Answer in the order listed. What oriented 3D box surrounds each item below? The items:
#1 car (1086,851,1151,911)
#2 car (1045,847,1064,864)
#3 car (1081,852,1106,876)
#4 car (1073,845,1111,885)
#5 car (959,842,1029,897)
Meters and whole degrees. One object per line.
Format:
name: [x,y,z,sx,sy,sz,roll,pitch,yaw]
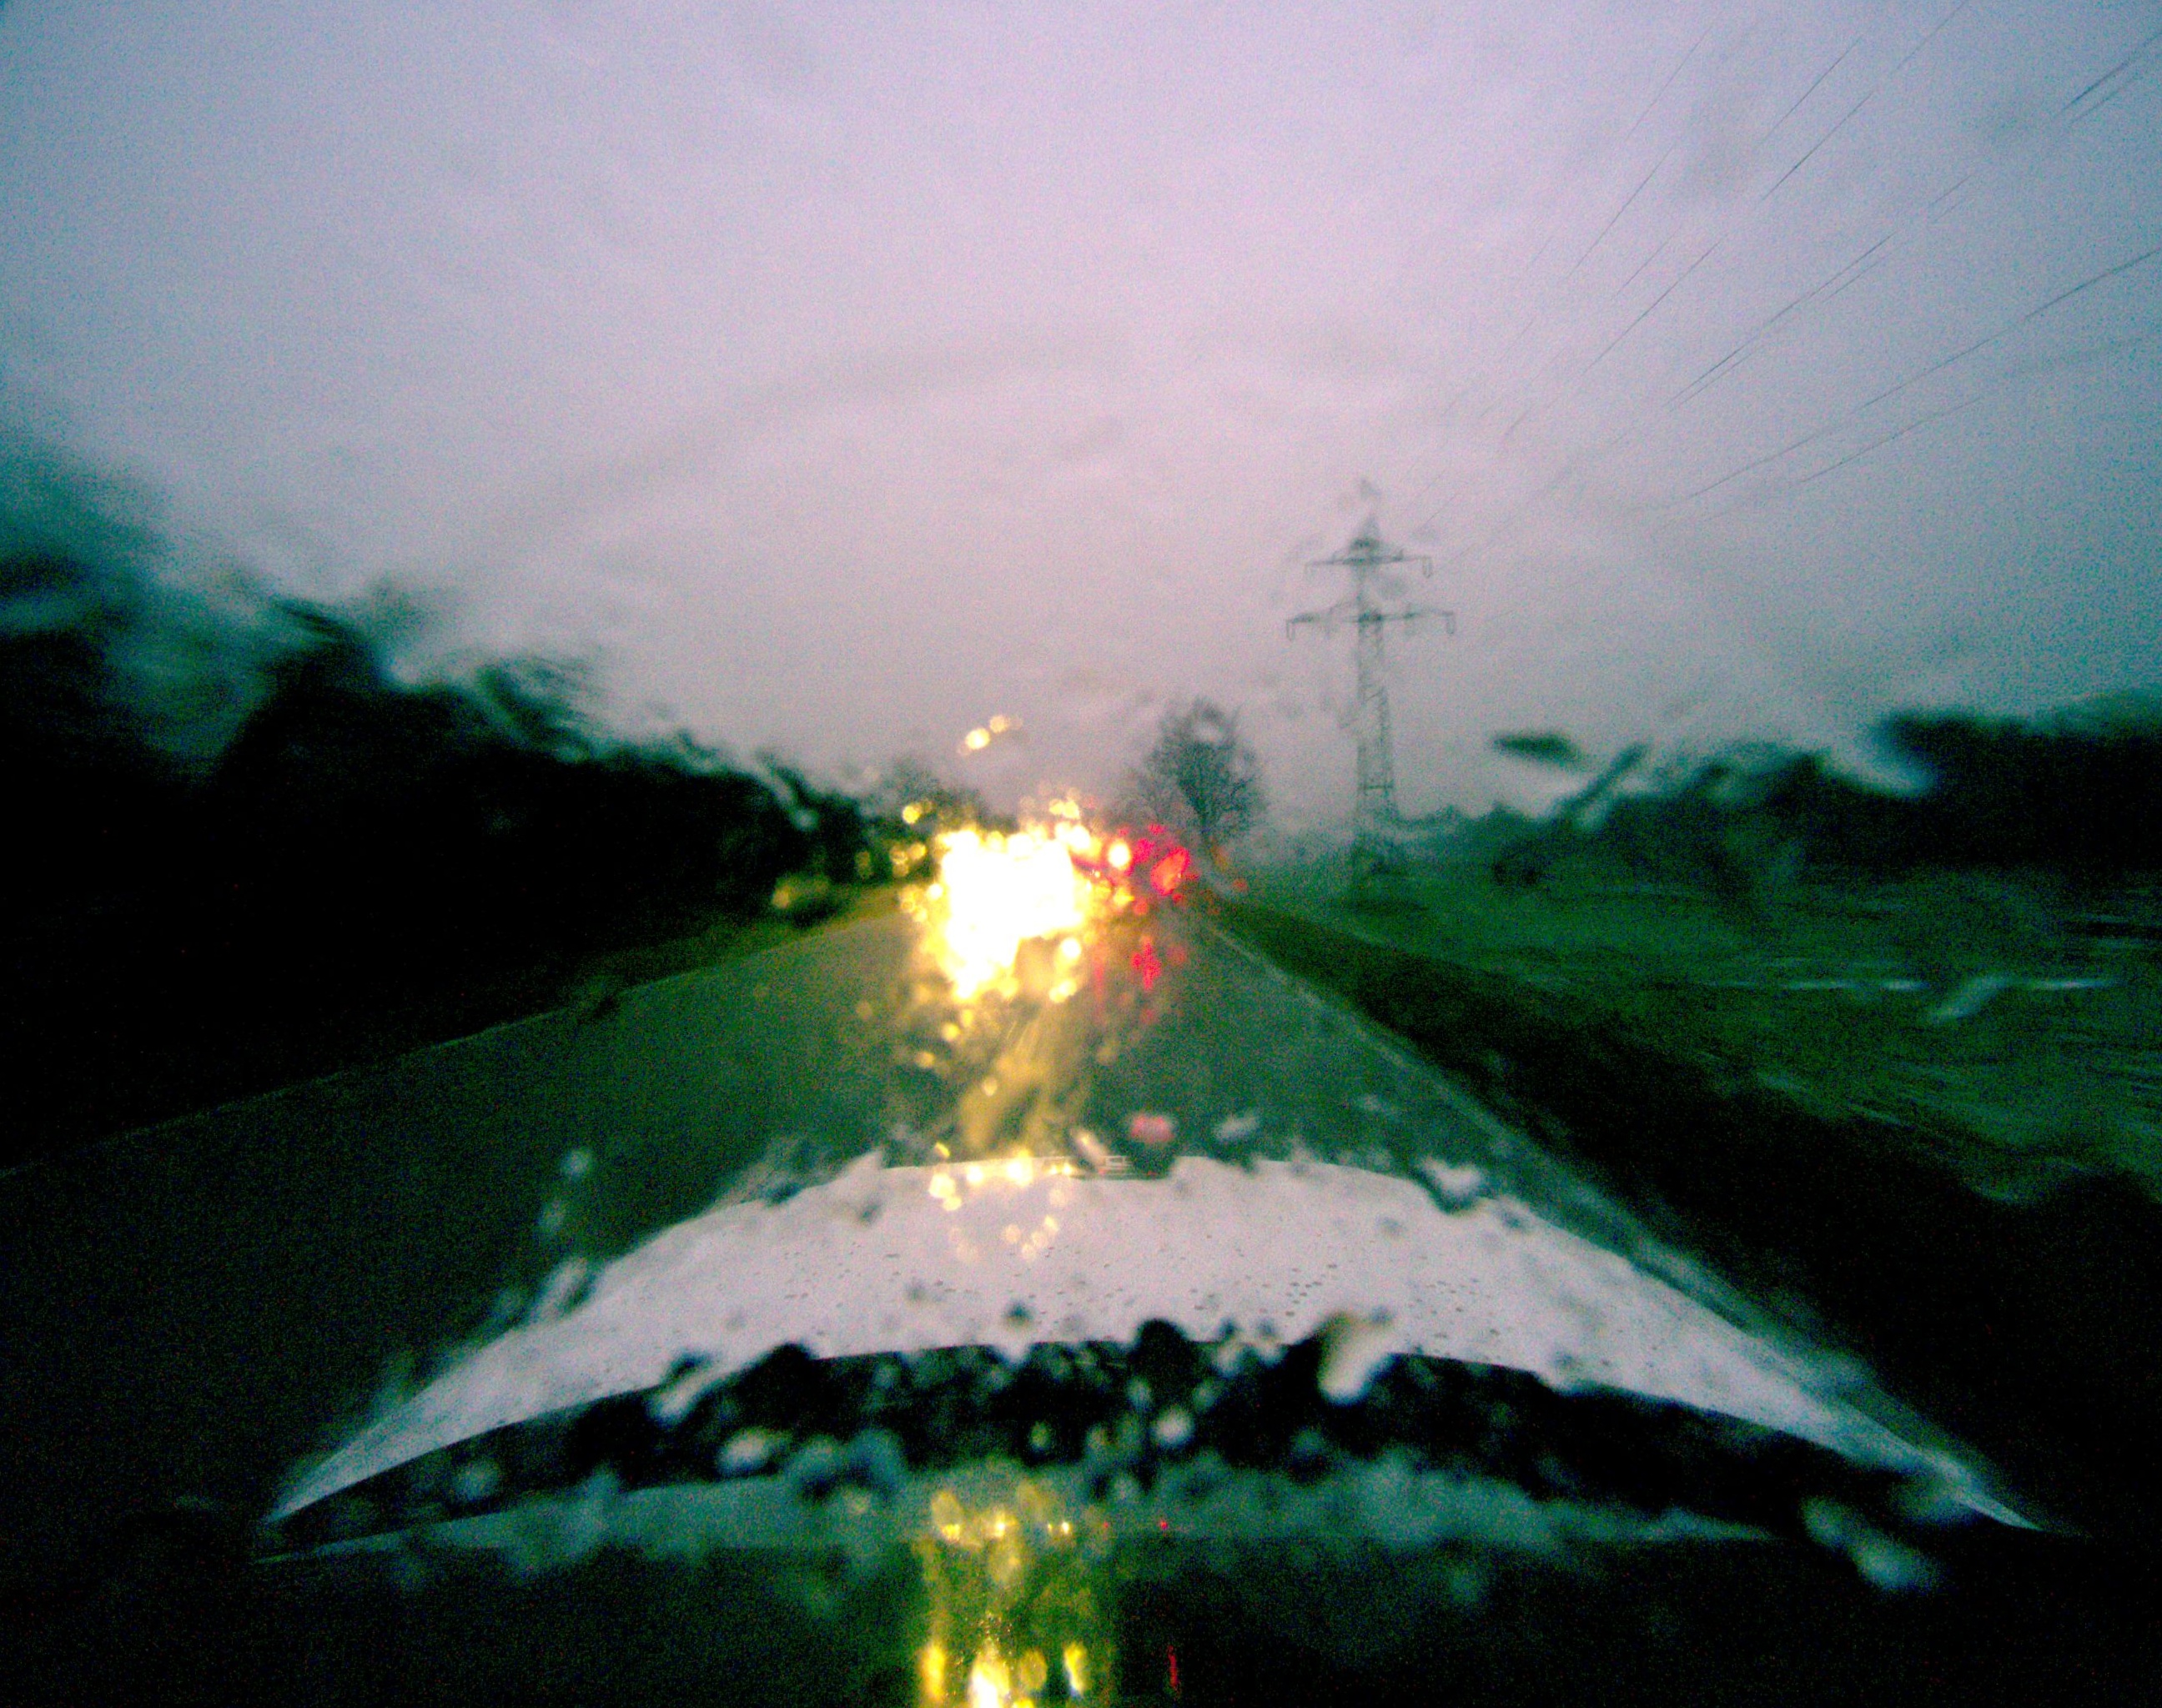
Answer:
car: [0.964,0.640,20.779,1.494,1.398,3.202,-1,0,3]
car: [-2.776,0.106,86.119,1.856,1.700,4.468,-1,0,1]
car: [0.946,0.698,61.758,1.856,1.700,4.468,-1,0,1]
car: [0.625,0.555,43.748,1.845,2.013,4.003,-1,0,3]
car: [-2.983,0.495,28.753,1.778,1.750,4.260,-2,0,2]
